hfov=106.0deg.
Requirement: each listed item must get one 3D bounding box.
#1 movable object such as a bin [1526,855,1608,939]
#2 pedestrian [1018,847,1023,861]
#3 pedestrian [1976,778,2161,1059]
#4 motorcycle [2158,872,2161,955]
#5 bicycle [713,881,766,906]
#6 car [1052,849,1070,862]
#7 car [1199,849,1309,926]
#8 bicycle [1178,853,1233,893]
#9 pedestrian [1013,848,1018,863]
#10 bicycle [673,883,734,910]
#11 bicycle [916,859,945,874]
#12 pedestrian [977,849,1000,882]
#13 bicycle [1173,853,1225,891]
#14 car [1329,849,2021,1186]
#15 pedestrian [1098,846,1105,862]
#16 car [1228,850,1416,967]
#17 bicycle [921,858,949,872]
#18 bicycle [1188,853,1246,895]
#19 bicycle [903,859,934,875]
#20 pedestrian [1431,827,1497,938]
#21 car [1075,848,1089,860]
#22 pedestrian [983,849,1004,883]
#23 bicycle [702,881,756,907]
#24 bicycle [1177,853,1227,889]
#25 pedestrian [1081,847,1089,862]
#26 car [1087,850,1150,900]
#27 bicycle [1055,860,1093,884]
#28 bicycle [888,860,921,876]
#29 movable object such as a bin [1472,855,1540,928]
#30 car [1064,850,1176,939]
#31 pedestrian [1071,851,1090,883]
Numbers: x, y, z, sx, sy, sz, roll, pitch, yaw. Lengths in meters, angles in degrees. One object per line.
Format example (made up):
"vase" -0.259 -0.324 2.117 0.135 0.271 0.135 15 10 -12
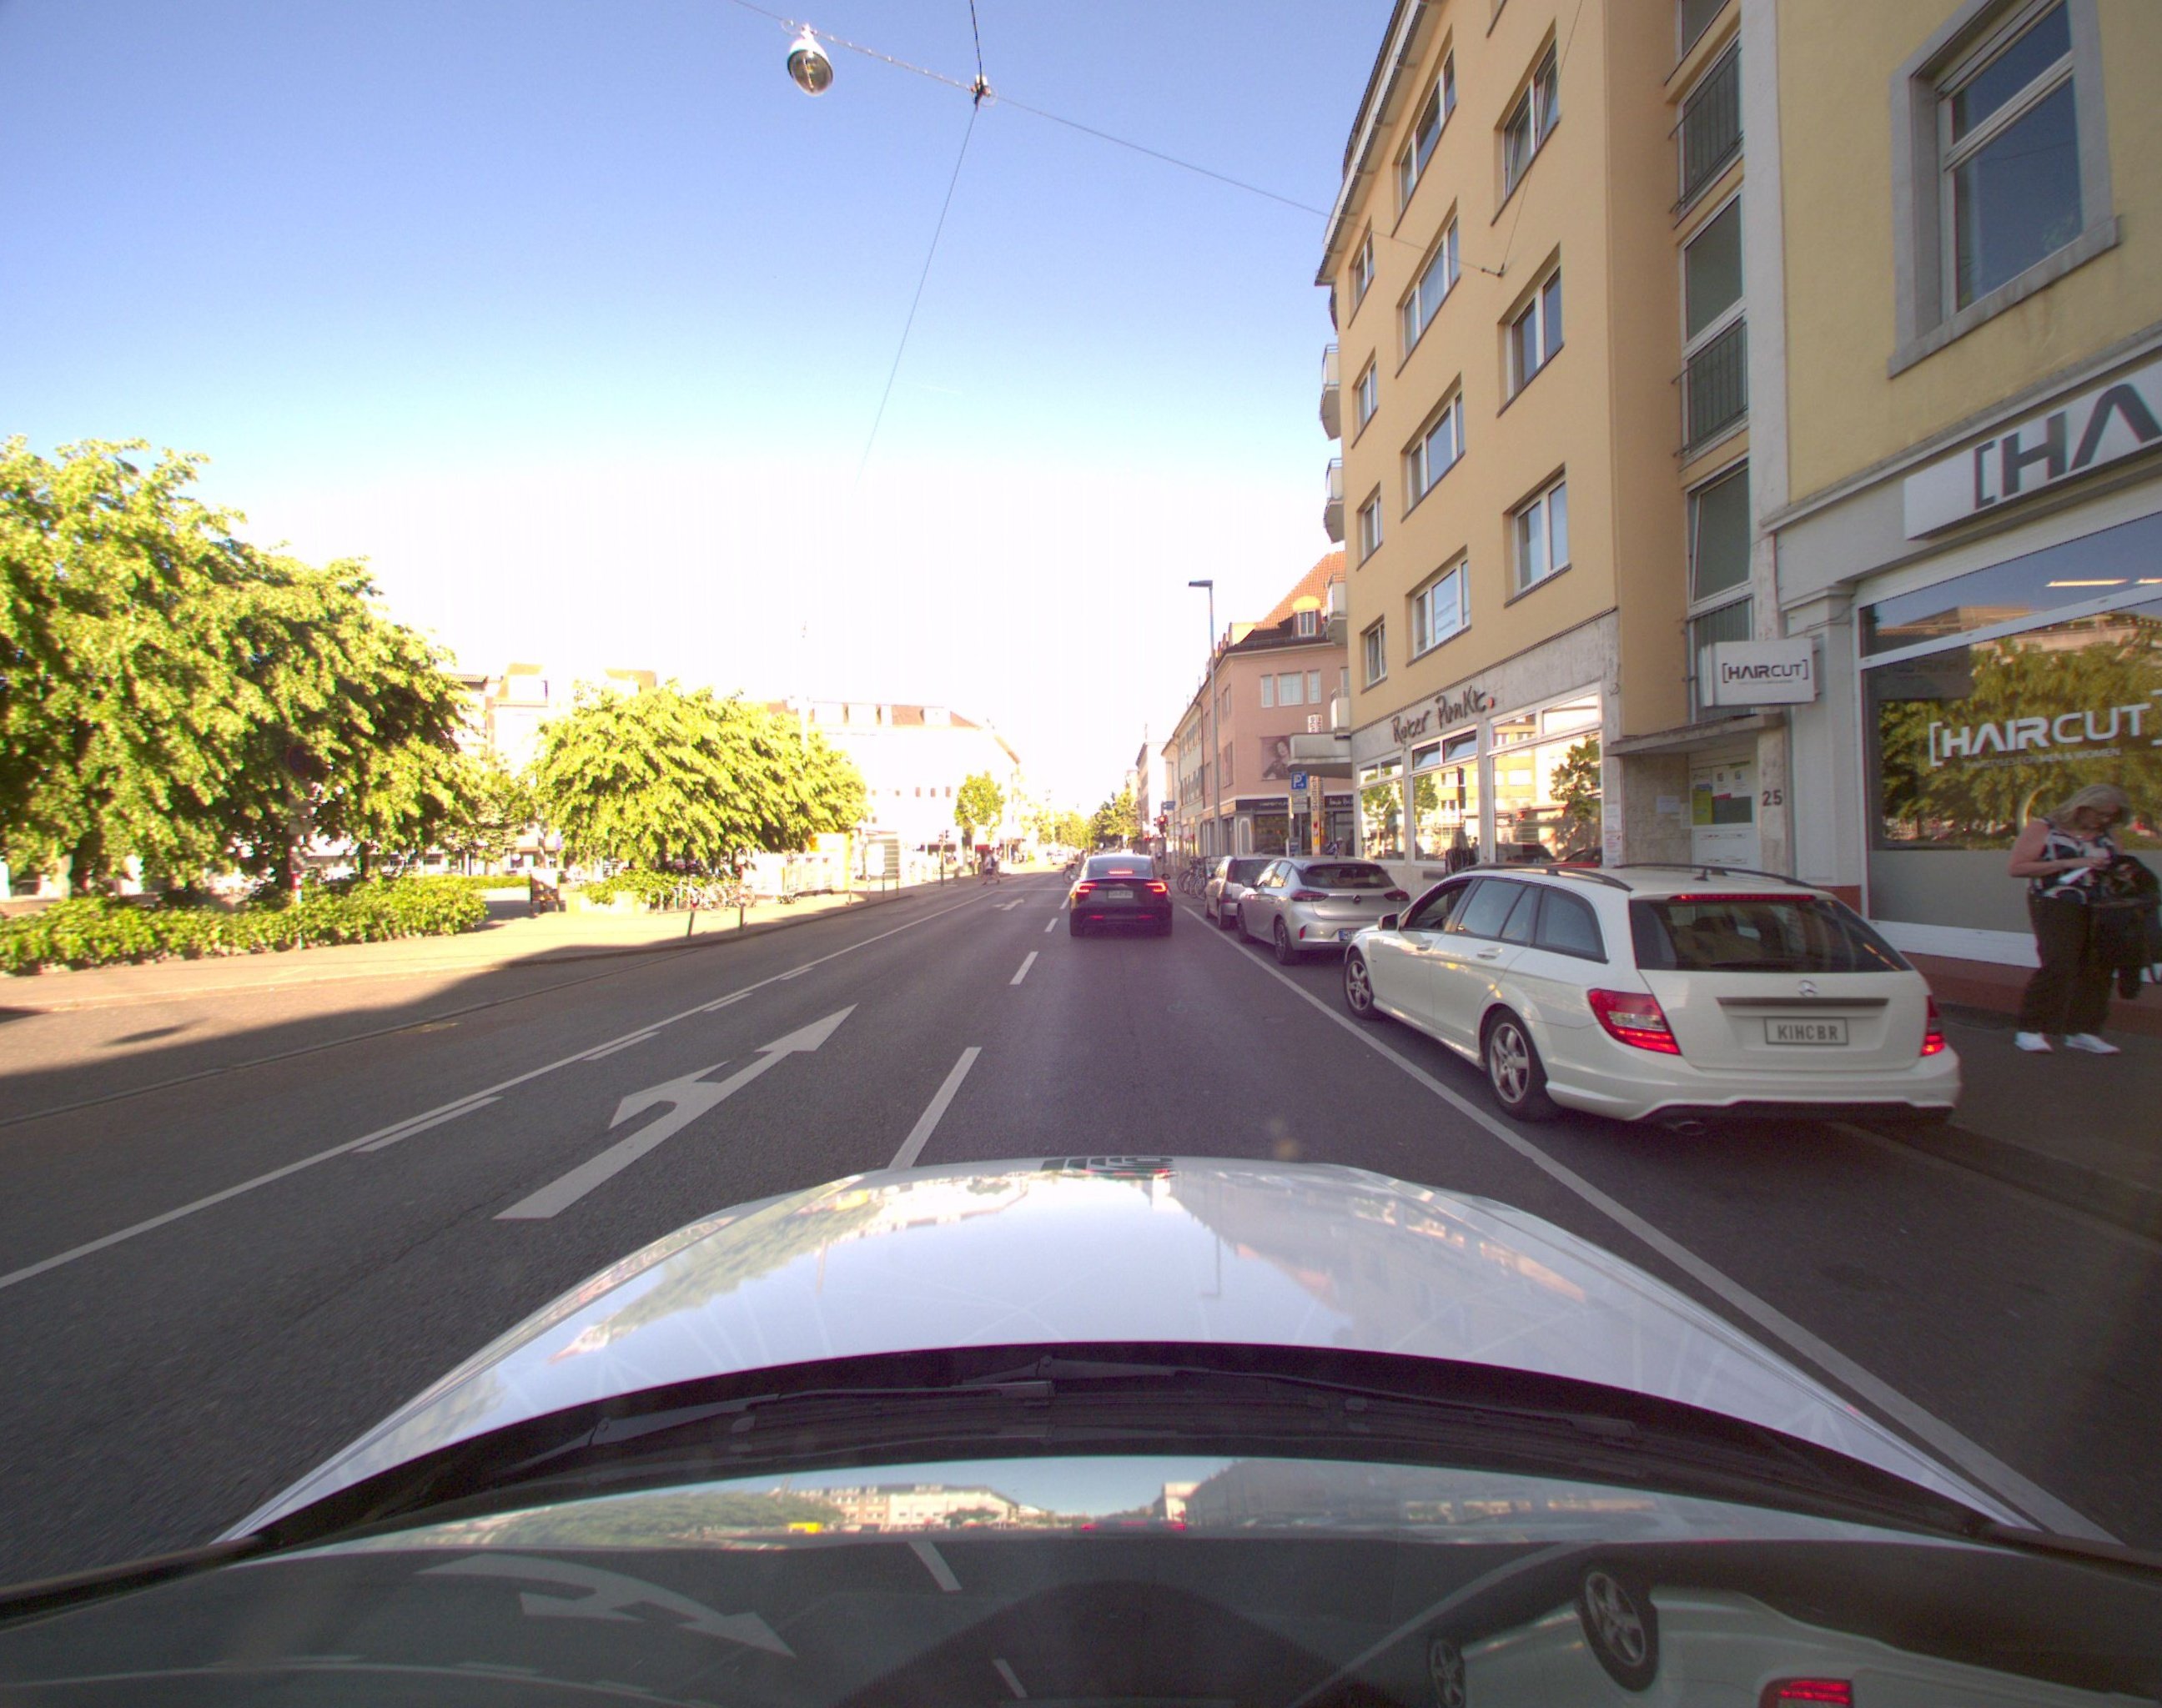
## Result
"movable object such as a bin" 6.681 0.579 11.220 0.700 1.067 0.620 -4 0 1
"pedestrian" -8.479 -0.002 114.586 0.623 2.013 0.575 -1 0 2
"pedestrian" 6.236 0.376 5.064 0.694 1.632 0.532 -3 0 -1
"motorcycle" 6.337 0.638 3.572 0.548 1.091 2.009 -3 0 1
"bicycle" -10.744 1.233 25.608 1.466 0.769 0.475 -1 0 4
"car" -2.621 0.230 107.346 1.986 1.541 4.002 -5 0 2
"car" 3.443 0.599 16.857 1.615 1.394 3.889 -1 0 3
"bicycle" 3.919 0.585 25.735 1.622 1.160 0.433 -3 0 0
"pedestrian" -9.237 0.214 114.583 0.623 2.013 0.707 -1 0 2
"bicycle" -10.963 1.226 23.653 1.645 0.769 0.476 -1 0 10
"bicycle" -11.781 0.952 63.716 2.074 1.104 0.806 -1 0 1
"pedestrian" -4.689 0.597 41.173 0.981 1.636 0.738 -1 0 5
"bicycle" 3.905 0.604 26.941 1.622 1.160 0.433 -3 0 0
"car" 3.274 0.704 5.792 1.732 1.447 4.465 -1 0 1
"pedestrian" 2.644 -0.039 105.639 0.620 2.013 0.562 -1 0 26
"car" 3.369 0.669 12.166 1.664 1.427 4.078 -1 0 1
"bicycle" -11.813 0.906 65.913 2.074 1.104 0.806 -1 0 1
"bicycle" 4.088 0.603 24.502 1.622 1.160 0.433 -3 0 0
"bicycle" -11.758 0.948 58.937 2.074 1.104 0.806 -1 0 1
"pedestrian" 5.893 0.429 12.547 0.659 1.633 0.629 -4 -1 6
"car" 0.161 -0.019 121.970 2.043 1.727 4.654 -1 0 1
"pedestrian" -4.522 0.598 42.024 0.896 1.725 0.745 -1 0 5
"bicycle" -10.820 1.225 25.033 1.465 0.769 0.442 -1 0 6
"bicycle" 4.142 0.582 28.002 1.621 1.160 0.433 -3 0 3
"pedestrian" 0.531 0.089 107.425 0.754 2.013 0.792 -1 0 -24
"car" 1.213 0.608 26.179 1.842 1.455 3.789 -1 0 3
"bicycle" -0.305 0.817 36.982 1.605 1.045 0.592 -1 0 10
"bicycle" -12.188 0.975 56.426 2.074 1.104 0.806 -1 0 1
"movable object such as a bin" 6.722 0.582 12.919 0.700 1.067 0.620 -4 0 1
"car" 0.751 0.660 15.449 1.842 1.455 3.789 -1 0 3
"pedestrian" -0.035 0.602 37.474 0.738 1.440 0.584 -1 0 13
